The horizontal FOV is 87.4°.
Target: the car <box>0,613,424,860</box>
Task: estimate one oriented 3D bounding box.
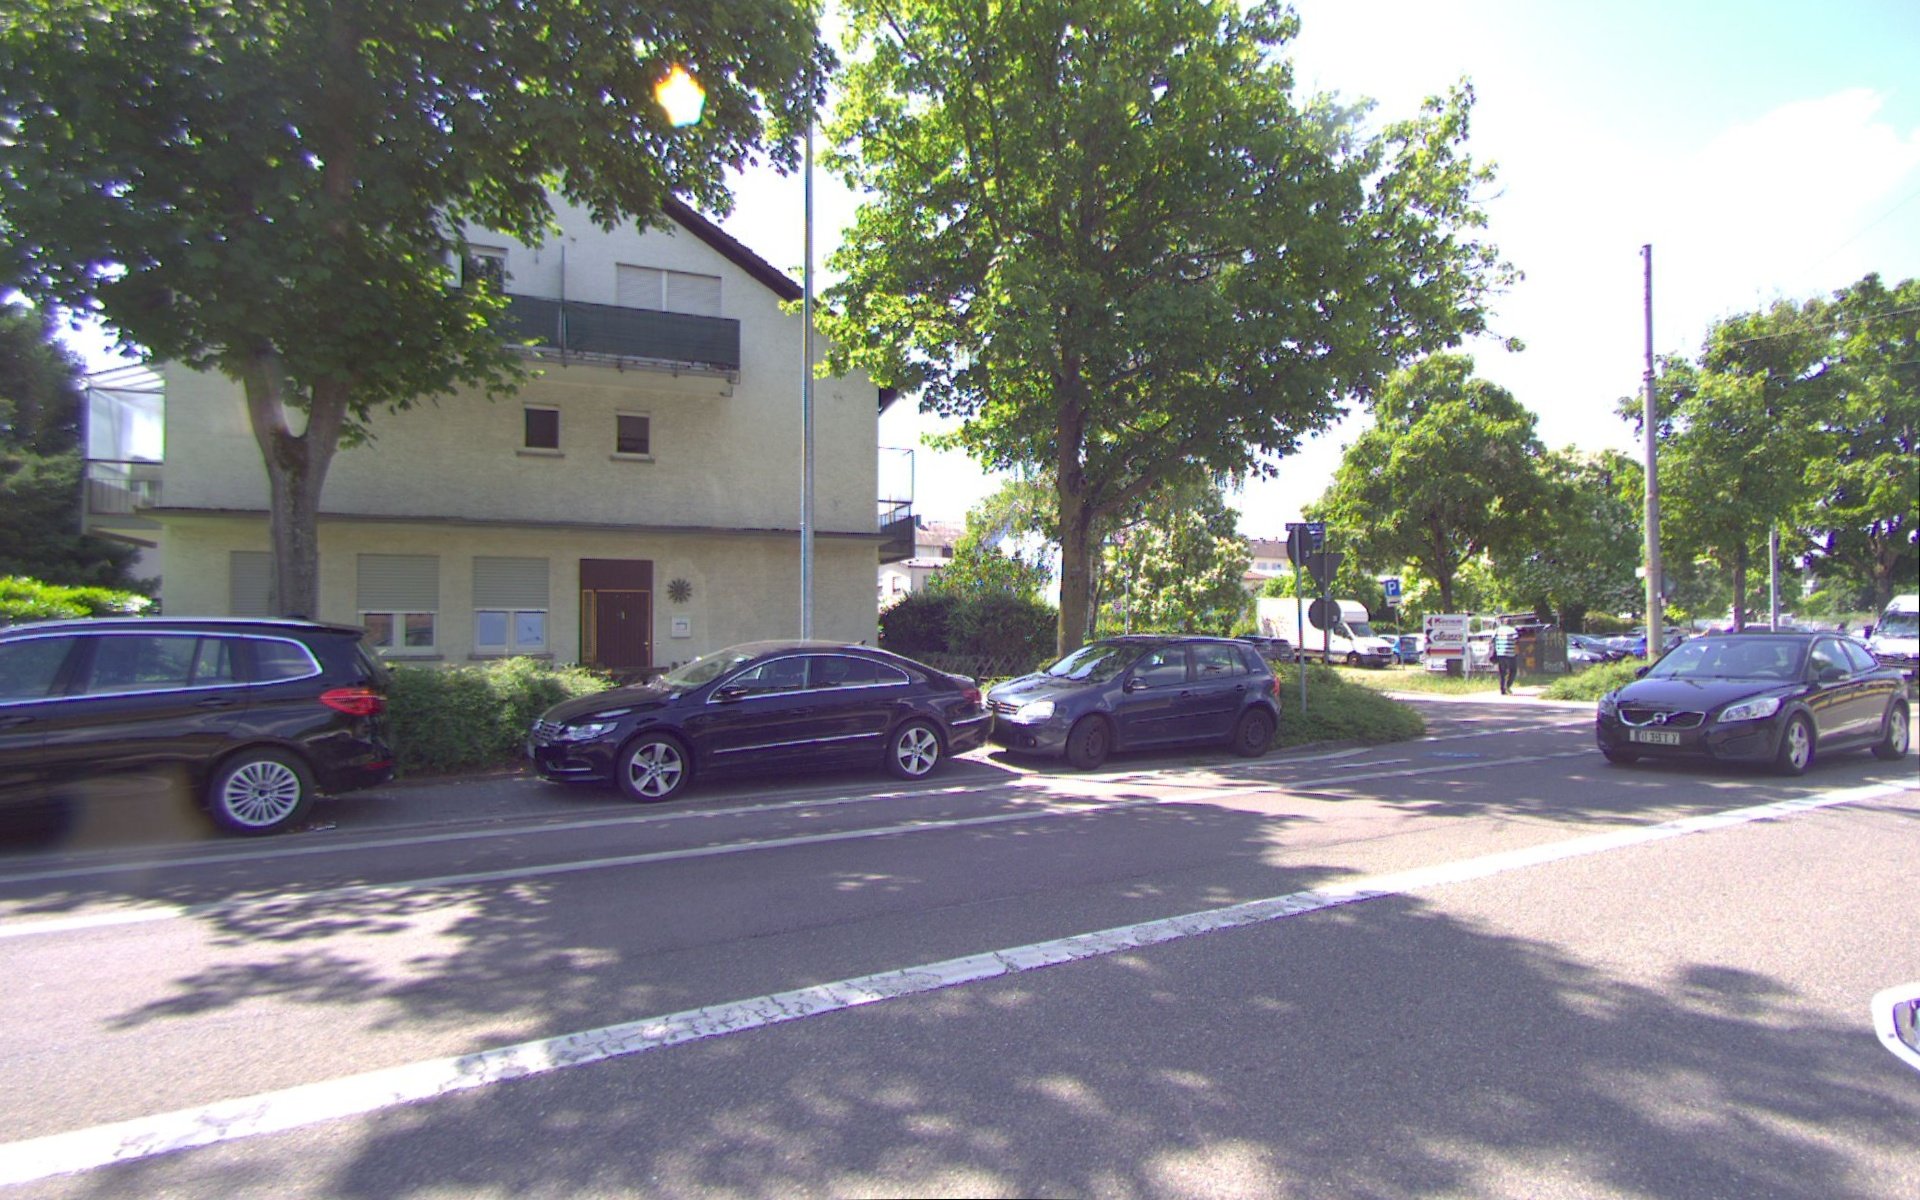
[{"bbox_3d":[-6.687,0.924,7.567,4.585,1.625,1.765,1,0,-32],"label":"car"}]

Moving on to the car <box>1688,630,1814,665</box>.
[{"bbox_3d":[34.480,2.046,43.875,1.784,1.461,3.969,1,-2,-30],"label":"car"}]

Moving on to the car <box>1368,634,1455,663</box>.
[{"bbox_3d":[23.896,2.557,53.294,1.784,1.461,3.968,1,-2,-30],"label":"car"}]

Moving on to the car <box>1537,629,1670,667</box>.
[{"bbox_3d":[24.782,1.817,38.806,1.784,1.357,3.968,1,-2,-30],"label":"car"}]

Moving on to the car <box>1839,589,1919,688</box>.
[{"bbox_3d":[27.215,1.031,27.880,6.115,2.520,2.148,1,2,-28],"label":"car"}]

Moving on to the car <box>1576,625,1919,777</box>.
[{"bbox_3d":[8.782,1.020,11.125,3.959,1.416,1.670,1,-4,-31],"label":"car"}]

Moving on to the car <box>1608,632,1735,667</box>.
[{"bbox_3d":[29.795,2.037,42.186,1.784,1.357,3.968,1,-2,-30],"label":"car"}]

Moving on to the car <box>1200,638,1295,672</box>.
[{"bbox_3d":[12.697,2.408,44.593,1.753,1.417,3.967,1,-2,-31],"label":"car"}]

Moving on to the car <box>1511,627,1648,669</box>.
[{"bbox_3d":[22.899,1.732,37.272,1.784,1.461,3.968,1,-2,-30],"label":"car"}]

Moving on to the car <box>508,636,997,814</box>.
[{"bbox_3d":[-2.036,1.118,10.406,4.644,1.391,1.765,1,0,-32],"label":"car"}]

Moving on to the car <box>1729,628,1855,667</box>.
[{"bbox_3d":[37.197,2.089,45.003,1.784,1.627,3.968,1,-2,-30],"label":"car"}]

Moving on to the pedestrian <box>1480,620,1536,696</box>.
[{"bbox_3d":[13.659,1.423,25.057,0.786,1.847,0.969,1,-2,-33],"label":"pedestrian"}]

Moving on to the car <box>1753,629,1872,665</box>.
[{"bbox_3d":[40.484,2.188,47.771,1.784,1.627,3.968,1,-2,-30],"label":"car"}]

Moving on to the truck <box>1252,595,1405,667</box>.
[{"bbox_3d":[17.729,1.509,48.843,2.306,3.270,7.150,1,-2,-31],"label":"truck"}]

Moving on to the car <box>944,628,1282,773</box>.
[{"bbox_3d":[1.968,1.139,12.629,4.000,1.500,1.766,1,0,-30],"label":"car"}]

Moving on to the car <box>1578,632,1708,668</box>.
[{"bbox_3d":[27.621,1.987,40.733,1.784,1.357,3.968,1,-2,-30],"label":"car"}]

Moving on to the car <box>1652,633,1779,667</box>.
[{"bbox_3d":[32.245,2.101,42.990,1.784,1.357,3.968,1,-2,-30],"label":"car"}]

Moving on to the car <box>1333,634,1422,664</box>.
[{"bbox_3d":[21.491,2.492,51.810,1.784,1.461,3.968,1,-2,-30],"label":"car"}]
